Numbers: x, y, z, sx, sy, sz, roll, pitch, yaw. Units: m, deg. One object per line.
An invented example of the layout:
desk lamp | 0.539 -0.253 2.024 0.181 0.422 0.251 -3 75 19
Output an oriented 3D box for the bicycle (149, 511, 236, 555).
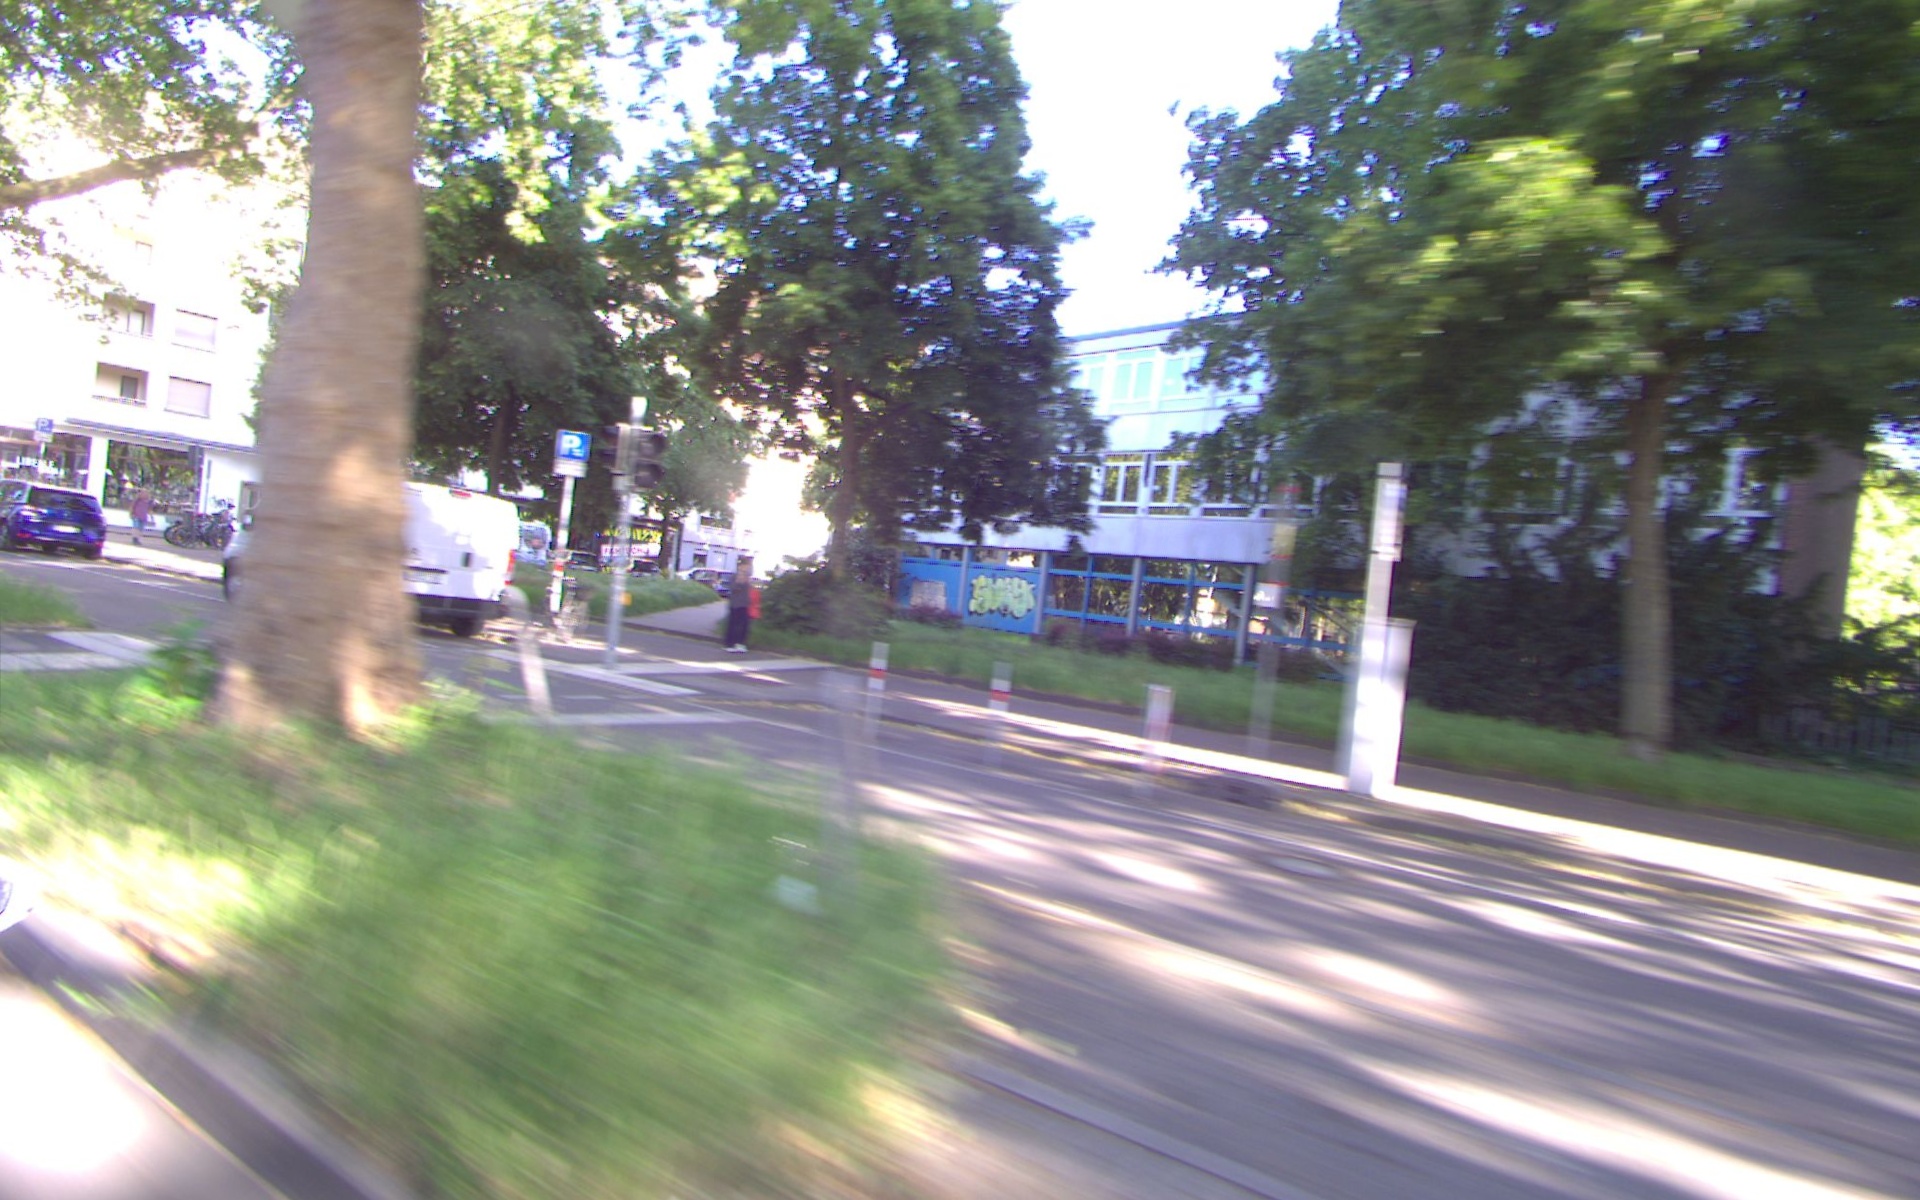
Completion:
bicycle | -25.087 -2.188 32.931 2.176 1.117 0.503 7 1 -34

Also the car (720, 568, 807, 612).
car | -9.765 -0.531 49.748 1.987 1.648 4.596 7 0 -44

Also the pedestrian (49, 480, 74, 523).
pedestrian | -37.489 -4.102 41.959 0.714 1.670 0.590 7 1 42

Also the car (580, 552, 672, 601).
car | -14.928 -1.087 44.804 1.987 1.690 4.686 6 0 -44

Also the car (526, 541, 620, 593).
car | -16.471 -1.427 42.670 1.987 1.690 4.686 6 0 -44

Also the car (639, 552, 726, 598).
car | -12.926 -1.185 46.728 1.987 1.648 4.335 7 0 -44

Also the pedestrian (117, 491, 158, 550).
pedestrian | -25.276 -2.442 30.899 0.891 1.672 0.679 8 1 38

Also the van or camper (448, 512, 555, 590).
van or camper | -18.656 -2.027 40.803 2.139 2.669 5.520 6 1 -43

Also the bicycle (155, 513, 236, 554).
bicycle | -26.525 -2.313 34.928 2.125 1.117 0.503 7 1 -34

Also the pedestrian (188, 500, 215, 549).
pedestrian | -27.130 -2.686 35.999 0.583 1.672 0.548 6 1 -33

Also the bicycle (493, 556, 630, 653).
bicycle | -6.011 0.090 15.248 0.946 1.279 1.607 7 0 27

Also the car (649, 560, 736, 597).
car | -15.515 -1.223 58.430 4.367 1.555 1.976 7 0 -43

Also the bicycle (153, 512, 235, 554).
bicycle | -26.219 -2.285 34.462 2.125 1.117 0.503 7 1 -34

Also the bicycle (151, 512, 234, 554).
bicycle | -25.902 -2.262 33.997 2.125 1.117 0.503 7 1 -34

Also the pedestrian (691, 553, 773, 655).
pedestrian | -3.990 0.074 17.594 1.018 1.637 0.733 7 1 31

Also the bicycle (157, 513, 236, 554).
bicycle | -26.807 -2.327 35.365 2.125 1.117 0.468 7 1 -34

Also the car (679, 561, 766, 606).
car | -11.397 -0.798 48.106 1.987 1.648 4.335 7 0 -44

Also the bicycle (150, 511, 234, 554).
bicycle | -25.480 -2.221 33.423 2.125 1.117 0.503 7 1 -34

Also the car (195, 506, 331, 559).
car | -30.452 -2.920 44.040 4.572 1.600 1.975 7 0 -44

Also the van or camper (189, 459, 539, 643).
van or camper | -9.761 -0.835 16.318 5.725 2.315 2.294 7 0 31

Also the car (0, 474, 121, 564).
car | -22.637 -2.060 24.468 5.081 1.763 1.821 7 0 32

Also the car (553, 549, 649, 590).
car | -19.403 -1.636 54.496 4.367 1.555 1.976 7 0 -43
